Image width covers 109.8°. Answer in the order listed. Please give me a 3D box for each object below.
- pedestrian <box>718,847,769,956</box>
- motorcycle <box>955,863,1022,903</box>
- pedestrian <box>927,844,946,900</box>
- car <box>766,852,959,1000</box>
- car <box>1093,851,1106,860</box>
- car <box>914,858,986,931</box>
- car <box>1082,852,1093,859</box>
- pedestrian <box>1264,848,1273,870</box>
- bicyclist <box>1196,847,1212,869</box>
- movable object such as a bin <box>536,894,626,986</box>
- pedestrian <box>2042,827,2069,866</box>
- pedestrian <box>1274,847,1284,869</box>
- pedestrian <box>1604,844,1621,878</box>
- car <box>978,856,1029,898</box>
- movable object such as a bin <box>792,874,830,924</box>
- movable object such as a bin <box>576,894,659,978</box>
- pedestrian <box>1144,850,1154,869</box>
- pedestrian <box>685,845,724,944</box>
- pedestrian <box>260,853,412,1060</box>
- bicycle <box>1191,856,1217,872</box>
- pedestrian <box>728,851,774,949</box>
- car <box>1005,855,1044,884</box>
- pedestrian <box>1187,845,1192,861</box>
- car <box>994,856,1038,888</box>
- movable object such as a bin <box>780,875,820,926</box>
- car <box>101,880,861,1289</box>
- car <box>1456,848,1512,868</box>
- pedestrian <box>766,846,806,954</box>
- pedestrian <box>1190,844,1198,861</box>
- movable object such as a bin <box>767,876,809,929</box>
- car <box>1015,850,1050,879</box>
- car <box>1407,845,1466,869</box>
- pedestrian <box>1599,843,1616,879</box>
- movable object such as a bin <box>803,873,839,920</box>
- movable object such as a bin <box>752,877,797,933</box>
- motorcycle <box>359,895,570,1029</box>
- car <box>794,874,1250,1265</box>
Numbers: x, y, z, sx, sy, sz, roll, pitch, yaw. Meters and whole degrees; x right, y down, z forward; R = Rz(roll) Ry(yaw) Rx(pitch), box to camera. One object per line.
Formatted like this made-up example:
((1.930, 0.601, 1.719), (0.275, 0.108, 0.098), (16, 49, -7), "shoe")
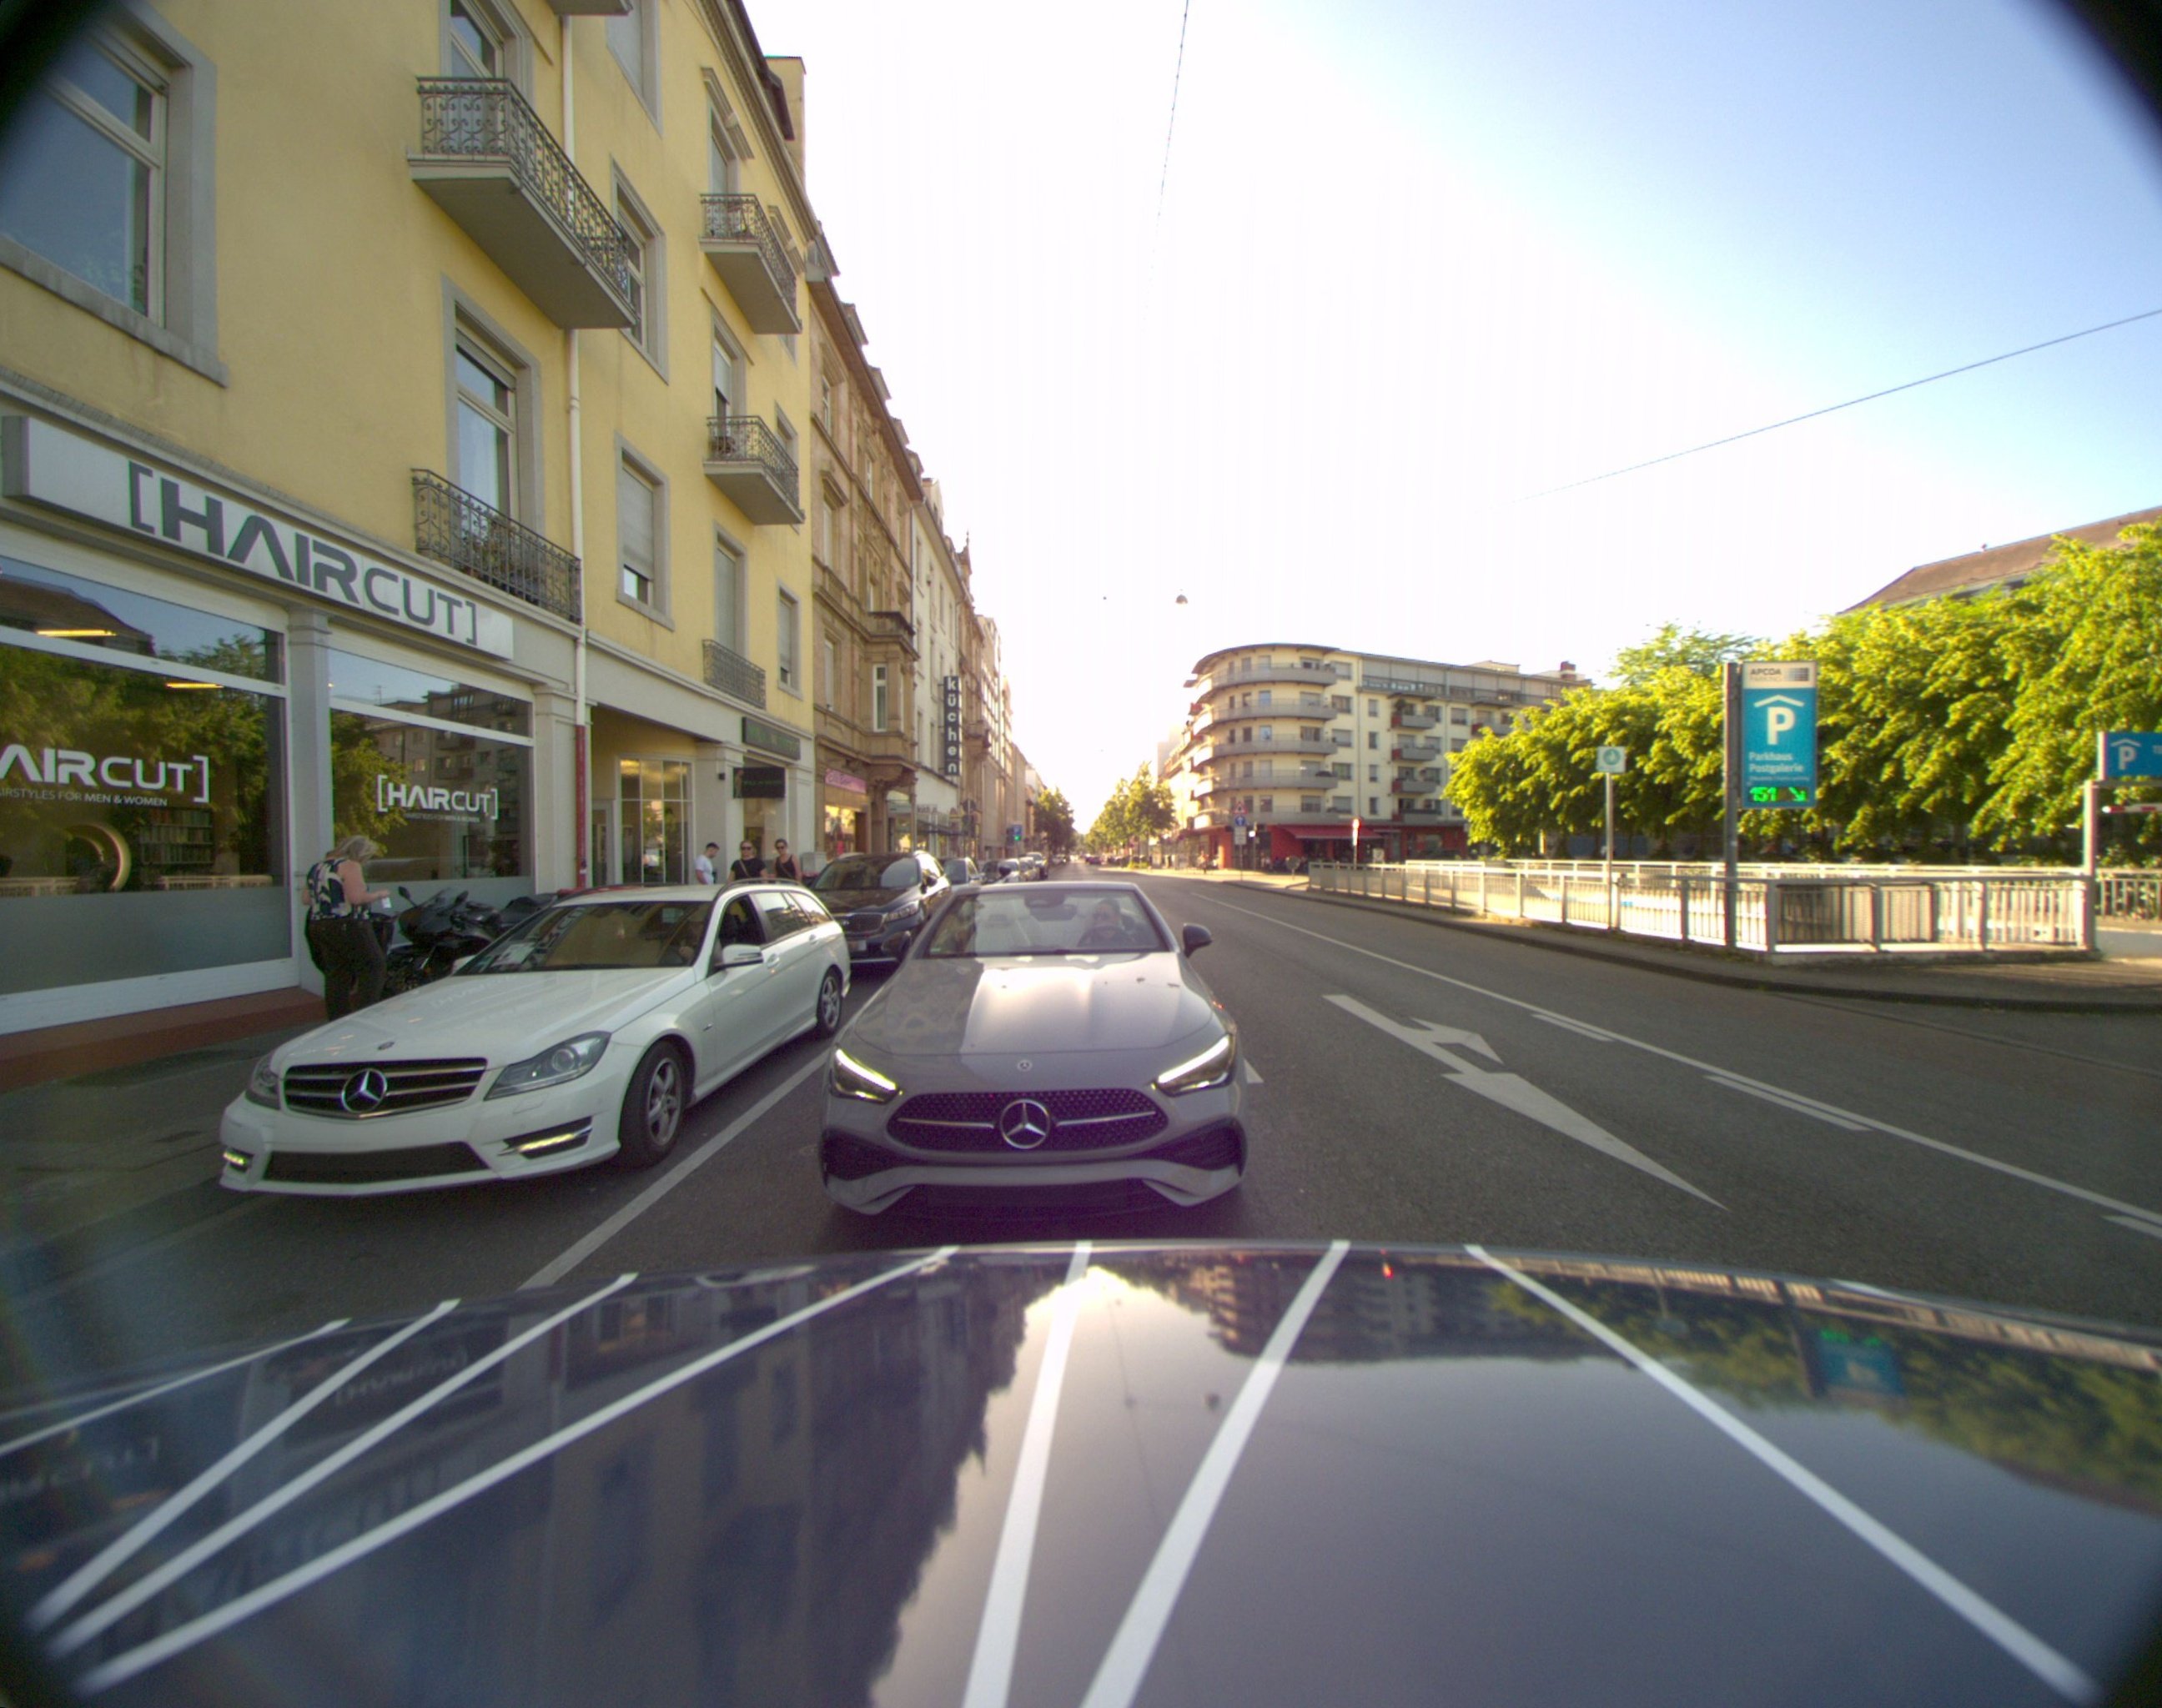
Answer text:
((-5.173, 0.714, 11.685), (0.619, 1.623, 0.462), (-2, 1, -17), "pedestrian")
((-3.212, 0.995, 26.543), (2.178, 1.272, 0.866), (-2, 1, -42), "motorcycle")
((-4.548, 0.560, 23.942), (0.434, 1.752, 0.481), (-2, 1, 1), "pedestrian")
((-2.990, 0.851, 11.424), (1.760, 1.726, 4.571), (-1, 0, -3), "car")
((2.767, 0.217, 115.928), (1.806, 1.388, 3.926), (-1, 0, 0), "car")
((-3.014, 0.888, 17.913), (1.275, 1.509, 2.794), (-1, 0, -2), "car")
((1.155, 0.286, 145.610), (1.895, 1.388, 4.255), (-1, 0, -2), "car")
((14.728, 0.370, 59.644), (0.575, 1.698, 0.642), (-1, 1, 3), "pedestrian")
((9.330, 0.308, 57.685), (0.715, 1.605, 0.973), (-3, 1, -41), "bicyclist")
((-6.123, 1.039, 9.324), (0.661, 1.035, 0.619), (2, 1, 3), "movable object such as a bin")
((44.852, -0.345, 34.971), (0.602, 1.782, 0.581), (-2, 1, -20), "pedestrian")
((15.460, 0.337, 59.365), (0.575, 1.698, 0.642), (-1, 1, 3), "pedestrian")
((28.225, 0.365, 40.319), (0.602, 1.782, 0.581), (-3, 2, -40), "pedestrian")
((-3.052, 0.851, 30.642), (1.737, 1.509, 4.164), (-1, 0, -2), "car")
((-6.073, 1.000, 17.088), (0.606, 1.060, 0.619), (2, 1, 0), "movable object such as a bin")
((-6.060, 1.058, 9.957), (0.669, 1.019, 0.619), (2, 1, 3), "movable object such as a bin")
((5.967, 0.494, 66.868), (0.774, 1.606, 0.696), (-1, 1, -3), "pedestrian")
((-6.443, 0.679, 13.015), (0.337, 1.651, 0.524), (0, 1, 16), "pedestrian")
((-6.063, 0.804, 6.216), (0.698, 1.623, 0.532), (0, 1, -2), "pedestrian")
((9.346, 0.778, 57.672), (0.715, 1.205, 1.868), (-3, 1, -41), "bicycle")
((-5.713, 0.771, 13.150), (0.450, 1.651, 0.594), (1, 1, 44), "pedestrian")
((-3.006, 0.800, 41.093), (1.737, 1.409, 3.802), (-1, 0, 0), "car")
((10.385, -0.072, 72.919), (0.376, 1.521, 0.516), (-2, 1, -3), "pedestrian")
((-3.084, 0.835, 36.706), (1.737, 1.409, 3.802), (-1, 0, 0), "car")
((-6.084, 0.995, 16.455), (0.606, 1.060, 0.619), (2, 1, 0), "movable object such as a bin")
((-3.069, 1.013, 5.311), (1.743, 1.438, 4.463), (-1, 0, 0), "car")
((34.270, 0.316, 64.676), (4.300, 1.611, 1.951), (-2, 1, -24), "car")
((-4.565, 0.693, 11.789), (0.515, 1.623, 0.414), (-2, 1, -19), "pedestrian")
((10.857, -0.114, 72.877), (0.570, 1.612, 0.793), (-2, 1, -3), "pedestrian")
((-6.095, 1.002, 15.840), (0.606, 1.060, 0.619), (2, 1, 0), "movable object such as a bin")
((-3.012, 0.624, 47.723), (1.895, 1.680, 4.049), (-1, 0, 0), "car")
((29.286, 0.237, 62.559), (4.432, 1.901, 1.951), (-2, 1, -24), "car")
((26.795, 0.358, 38.638), (0.602, 1.782, 0.581), (-3, 2, -45), "pedestrian")
((-6.073, 0.985, 17.758), (0.606, 1.060, 0.619), (2, 1, 0), "movable object such as a bin")
((-6.118, 1.010, 15.193), (0.606, 1.060, 0.619), (2, 1, 0), "movable object such as a bin")
((-6.210, 1.024, 7.826), (0.551, 1.085, 2.009), (0, 0, -1), "motorcycle")
((-0.231, 0.952, 5.326), (1.848, 1.440, 4.373), (-1, 0, 0), "car")
